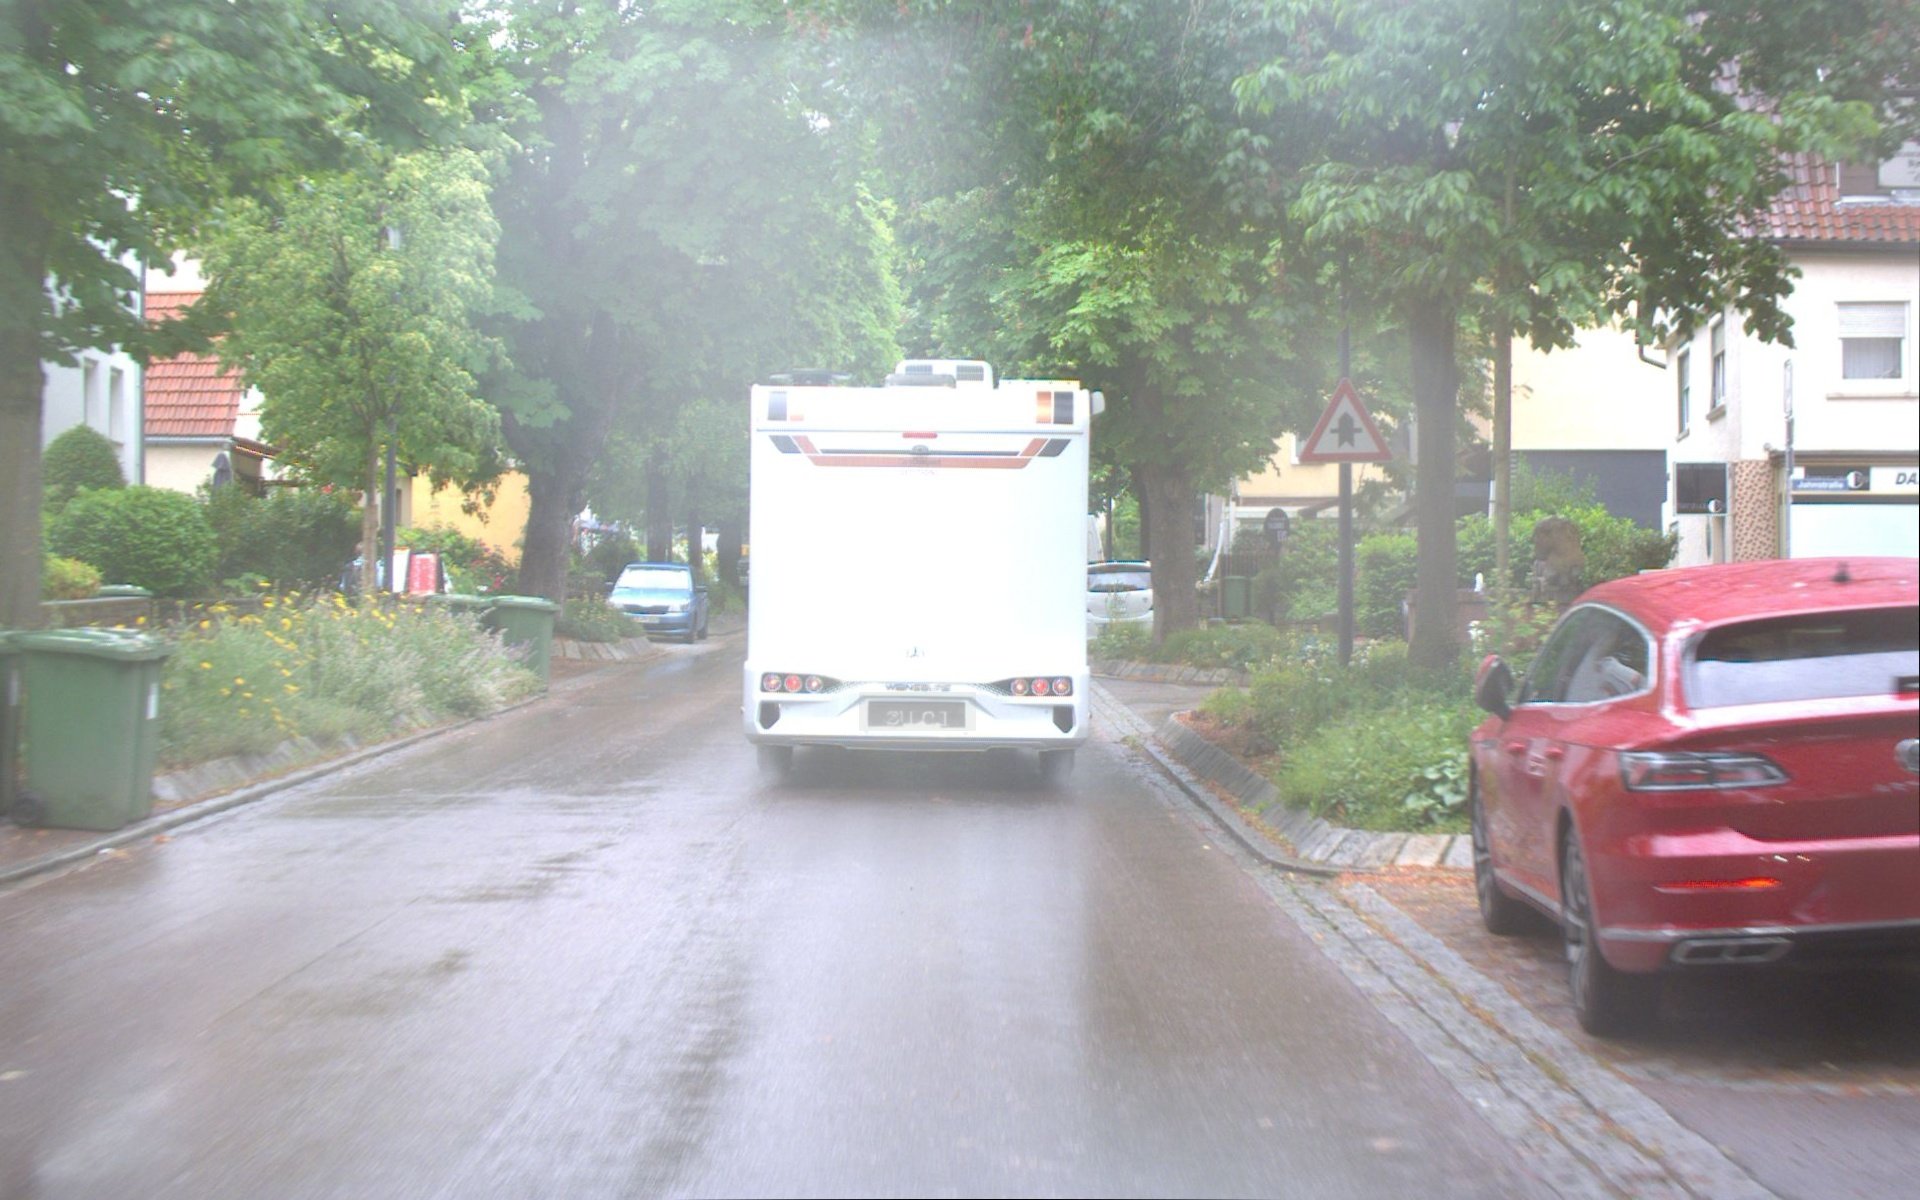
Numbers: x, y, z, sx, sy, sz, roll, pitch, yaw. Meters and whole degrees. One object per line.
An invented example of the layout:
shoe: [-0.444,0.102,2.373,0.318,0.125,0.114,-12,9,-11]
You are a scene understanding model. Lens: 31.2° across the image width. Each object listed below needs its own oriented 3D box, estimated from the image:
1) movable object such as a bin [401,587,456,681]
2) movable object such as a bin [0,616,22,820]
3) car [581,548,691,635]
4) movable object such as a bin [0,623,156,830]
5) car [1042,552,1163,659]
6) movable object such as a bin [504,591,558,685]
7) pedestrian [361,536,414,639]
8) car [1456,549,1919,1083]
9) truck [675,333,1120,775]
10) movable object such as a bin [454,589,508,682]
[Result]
movable object such as a bin: [-6.064,0.384,39.213,0.528,1.055,0.562,-1,0,0]
movable object such as a bin: [-5.512,0.636,18.587,0.670,1.101,0.817,0,0,-1]
car: [-6.068,-0.142,64.074,1.797,1.547,4.001,-1,0,-9]
movable object such as a bin: [-4.790,0.674,18.650,0.670,1.091,0.817,0,0,-1]
car: [2.114,0.086,51.823,1.649,1.536,3.530,-1,0,0]
movable object such as a bin: [-4.898,0.431,39.259,0.528,1.055,0.562,-1,0,0]
pedestrian: [-10.354,-0.224,62.163,0.817,1.838,0.770,-1,0,-1]
car: [2.807,0.591,11.904,1.855,1.467,4.364,1,1,5]
truck: [-0.452,-0.289,24.978,2.805,2.787,6.107,-1,0,-1]
movable object such as a bin: [-5.461,0.403,39.223,0.528,1.055,0.562,-1,0,0]
